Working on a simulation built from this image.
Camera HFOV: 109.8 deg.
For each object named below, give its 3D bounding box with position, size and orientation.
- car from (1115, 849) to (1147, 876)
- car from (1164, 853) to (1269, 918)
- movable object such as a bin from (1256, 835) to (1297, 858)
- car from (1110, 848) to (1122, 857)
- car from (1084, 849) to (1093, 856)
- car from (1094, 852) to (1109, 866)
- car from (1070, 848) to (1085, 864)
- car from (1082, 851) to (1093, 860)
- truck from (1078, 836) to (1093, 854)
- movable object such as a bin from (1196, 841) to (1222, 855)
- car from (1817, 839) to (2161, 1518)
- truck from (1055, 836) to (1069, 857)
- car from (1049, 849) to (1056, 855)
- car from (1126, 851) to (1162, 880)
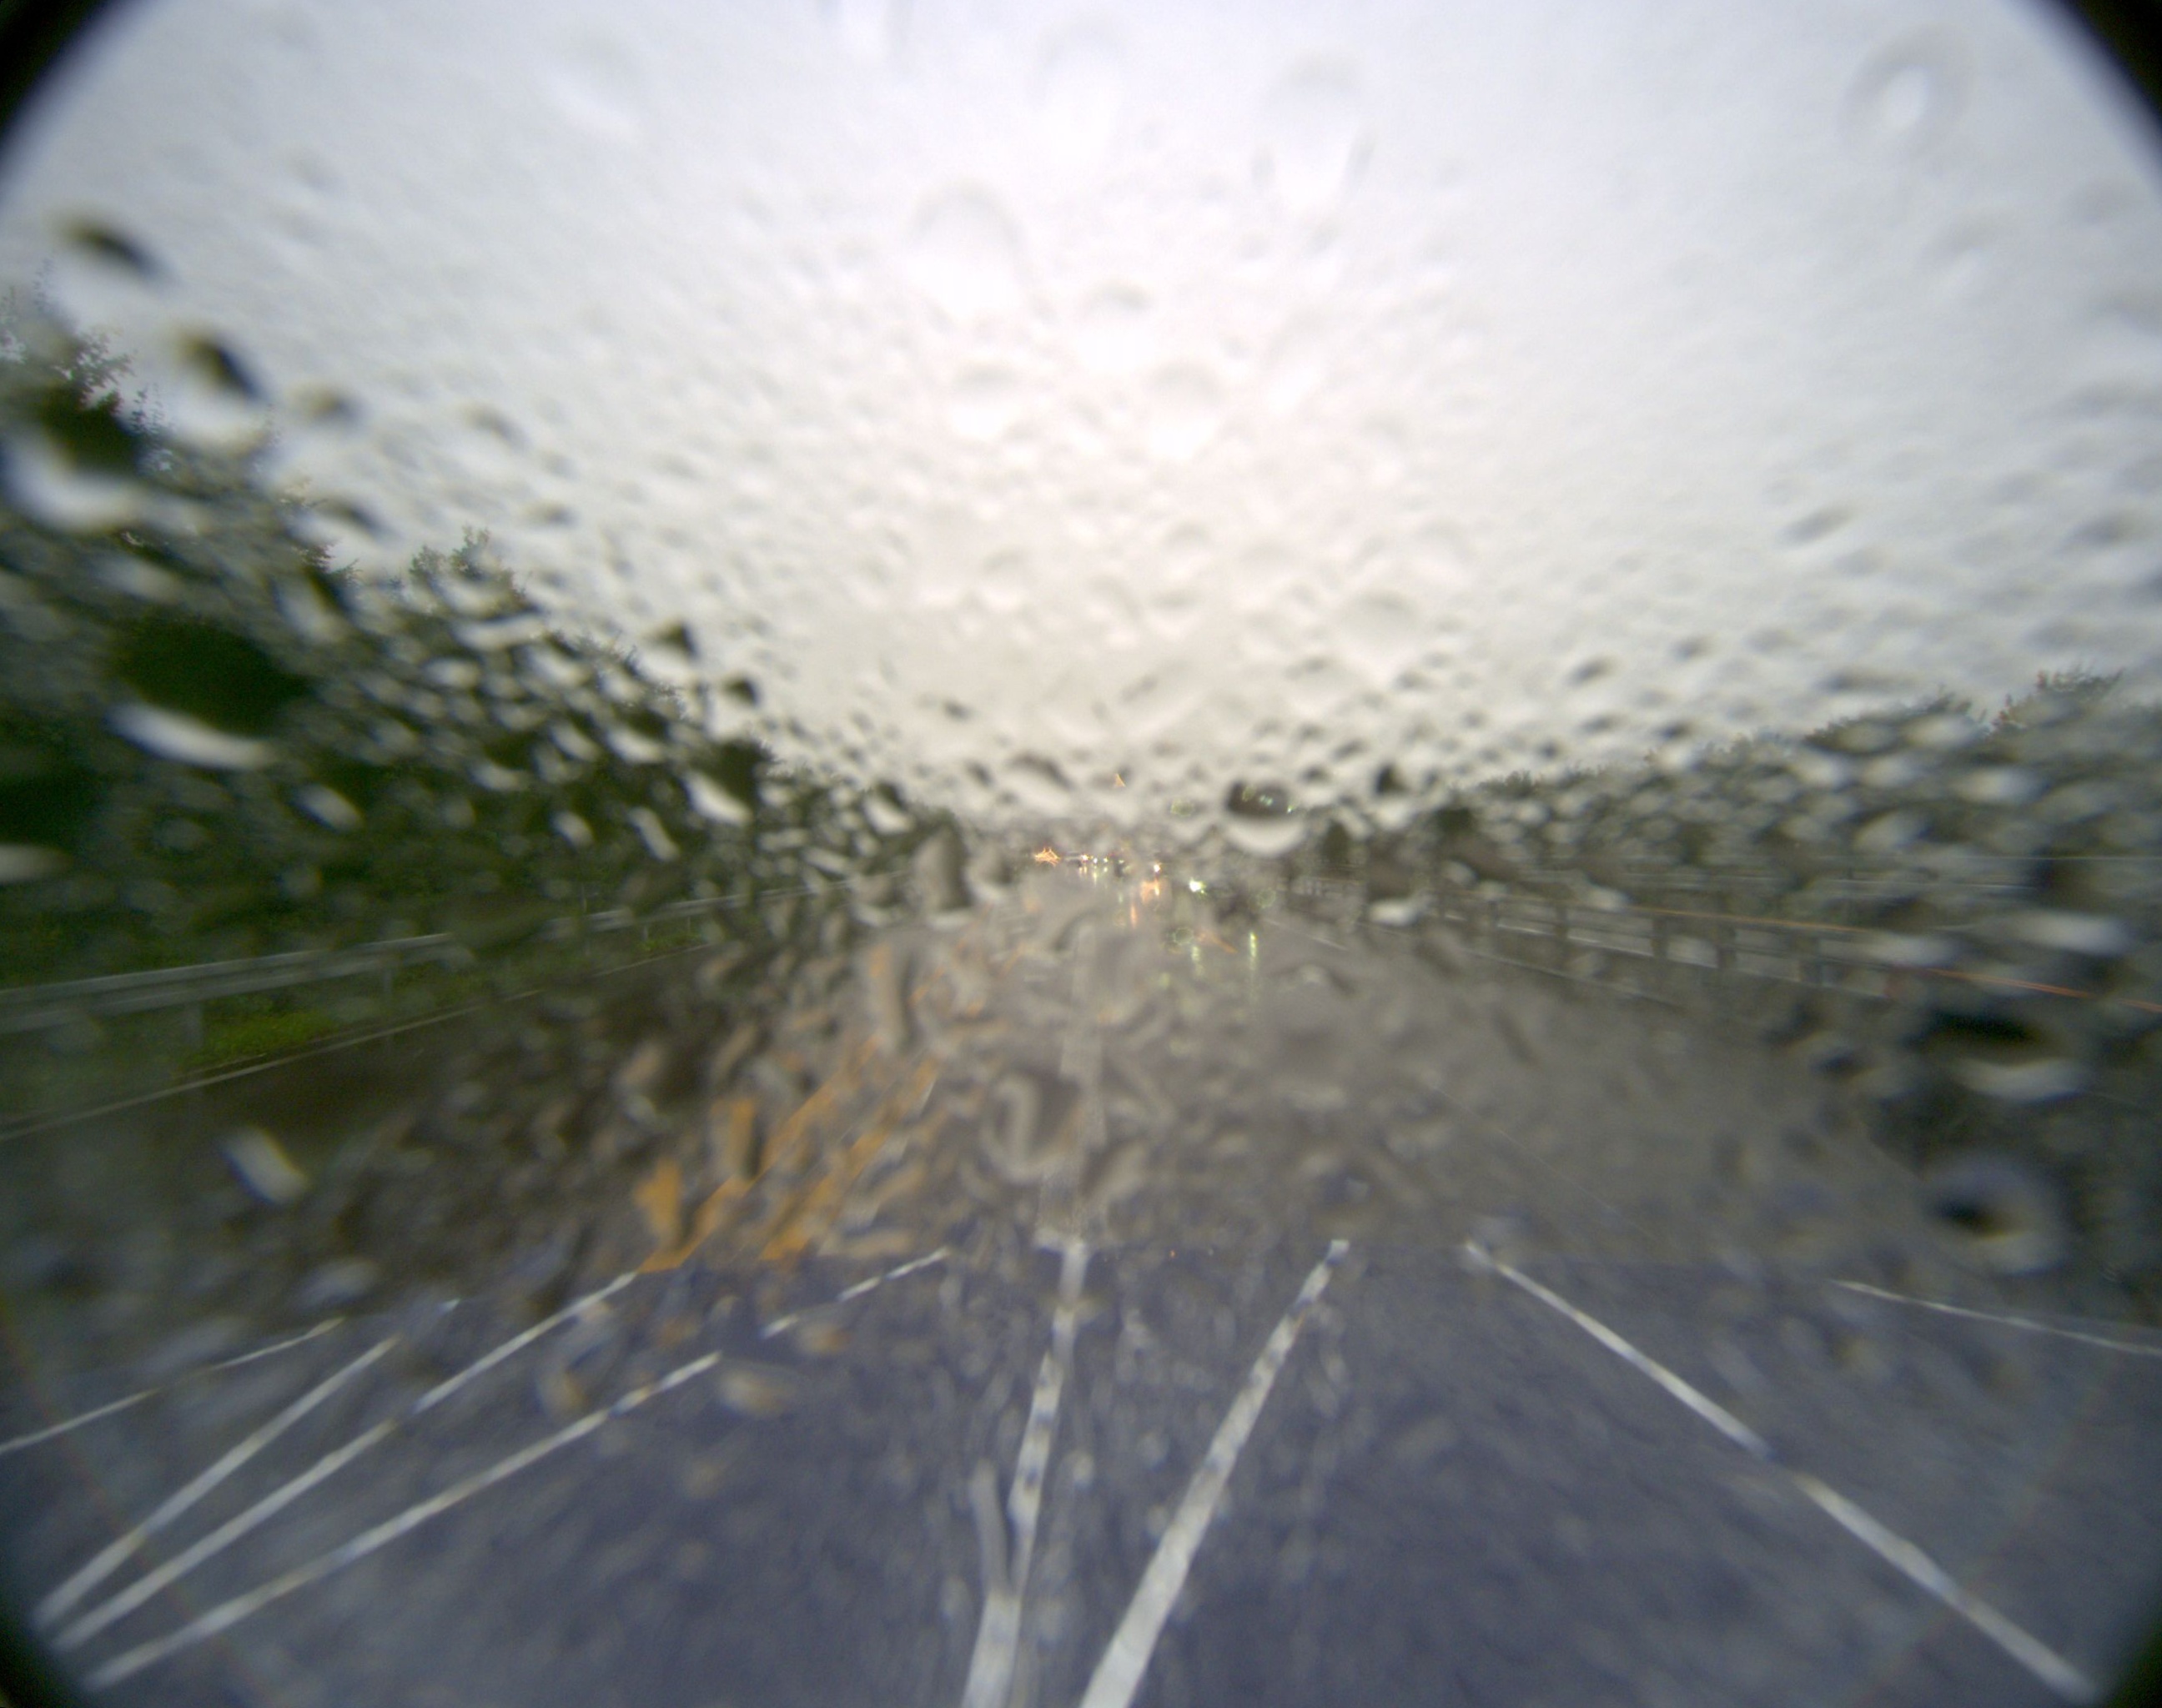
[{"bbox_3d":[3.948,0.665,61.404,2.211,2.002,5.563,-2,1,1],"label":"car"},{"bbox_3d":[3.545,0.755,20.787,1.999,1.489,4.630,-2,1,0],"label":"car"},{"bbox_3d":[25.994,-1.006,101.219,3.774,2.782,6.329,-2,1,0],"label":"movable object such as a bin"},{"bbox_3d":[7.031,-0.385,152.555,1.956,1.707,5.102,-2,1,-1],"label":"car"},{"bbox_3d":[1.813,-0.375,189.581,1.956,1.707,5.102,-2,1,-1],"label":"car"},{"bbox_3d":[2.694,0.656,100.661,1.695,1.740,3.999,-2,1,-1],"label":"car"},{"bbox_3d":[-0.449,0.245,98.031,1.881,2.002,3.999,-2,1,-1],"label":"car"},{"bbox_3d":[1.114,0.262,131.916,1.845,1.586,3.999,-2,1,-1],"label":"car"},{"bbox_3d":[1.260,-2.656,224.878,3.283,4.808,15.979,-2,1,-3],"label":"truck"},{"bbox_3d":[23.931,-1.114,142.577,3.448,2.281,5.097,-2,1,-7],"label":"movable object such as a bin"},{"bbox_3d":[3.496,0.762,0.393,1.998,1.576,4.413,-2,1,1],"label":"car"},{"bbox_3d":[-3.794,-1.528,152.524,2.484,4.061,8.702,-2,1,-1],"label":"truck"},{"bbox_3d":[-8.229,-0.674,219.997,1.752,1.579,3.999,-2,1,-1],"label":"car"},{"bbox_3d":[3.720,0.679,45.662,1.978,1.586,4.310,-1,-1,3],"label":"car"}]
